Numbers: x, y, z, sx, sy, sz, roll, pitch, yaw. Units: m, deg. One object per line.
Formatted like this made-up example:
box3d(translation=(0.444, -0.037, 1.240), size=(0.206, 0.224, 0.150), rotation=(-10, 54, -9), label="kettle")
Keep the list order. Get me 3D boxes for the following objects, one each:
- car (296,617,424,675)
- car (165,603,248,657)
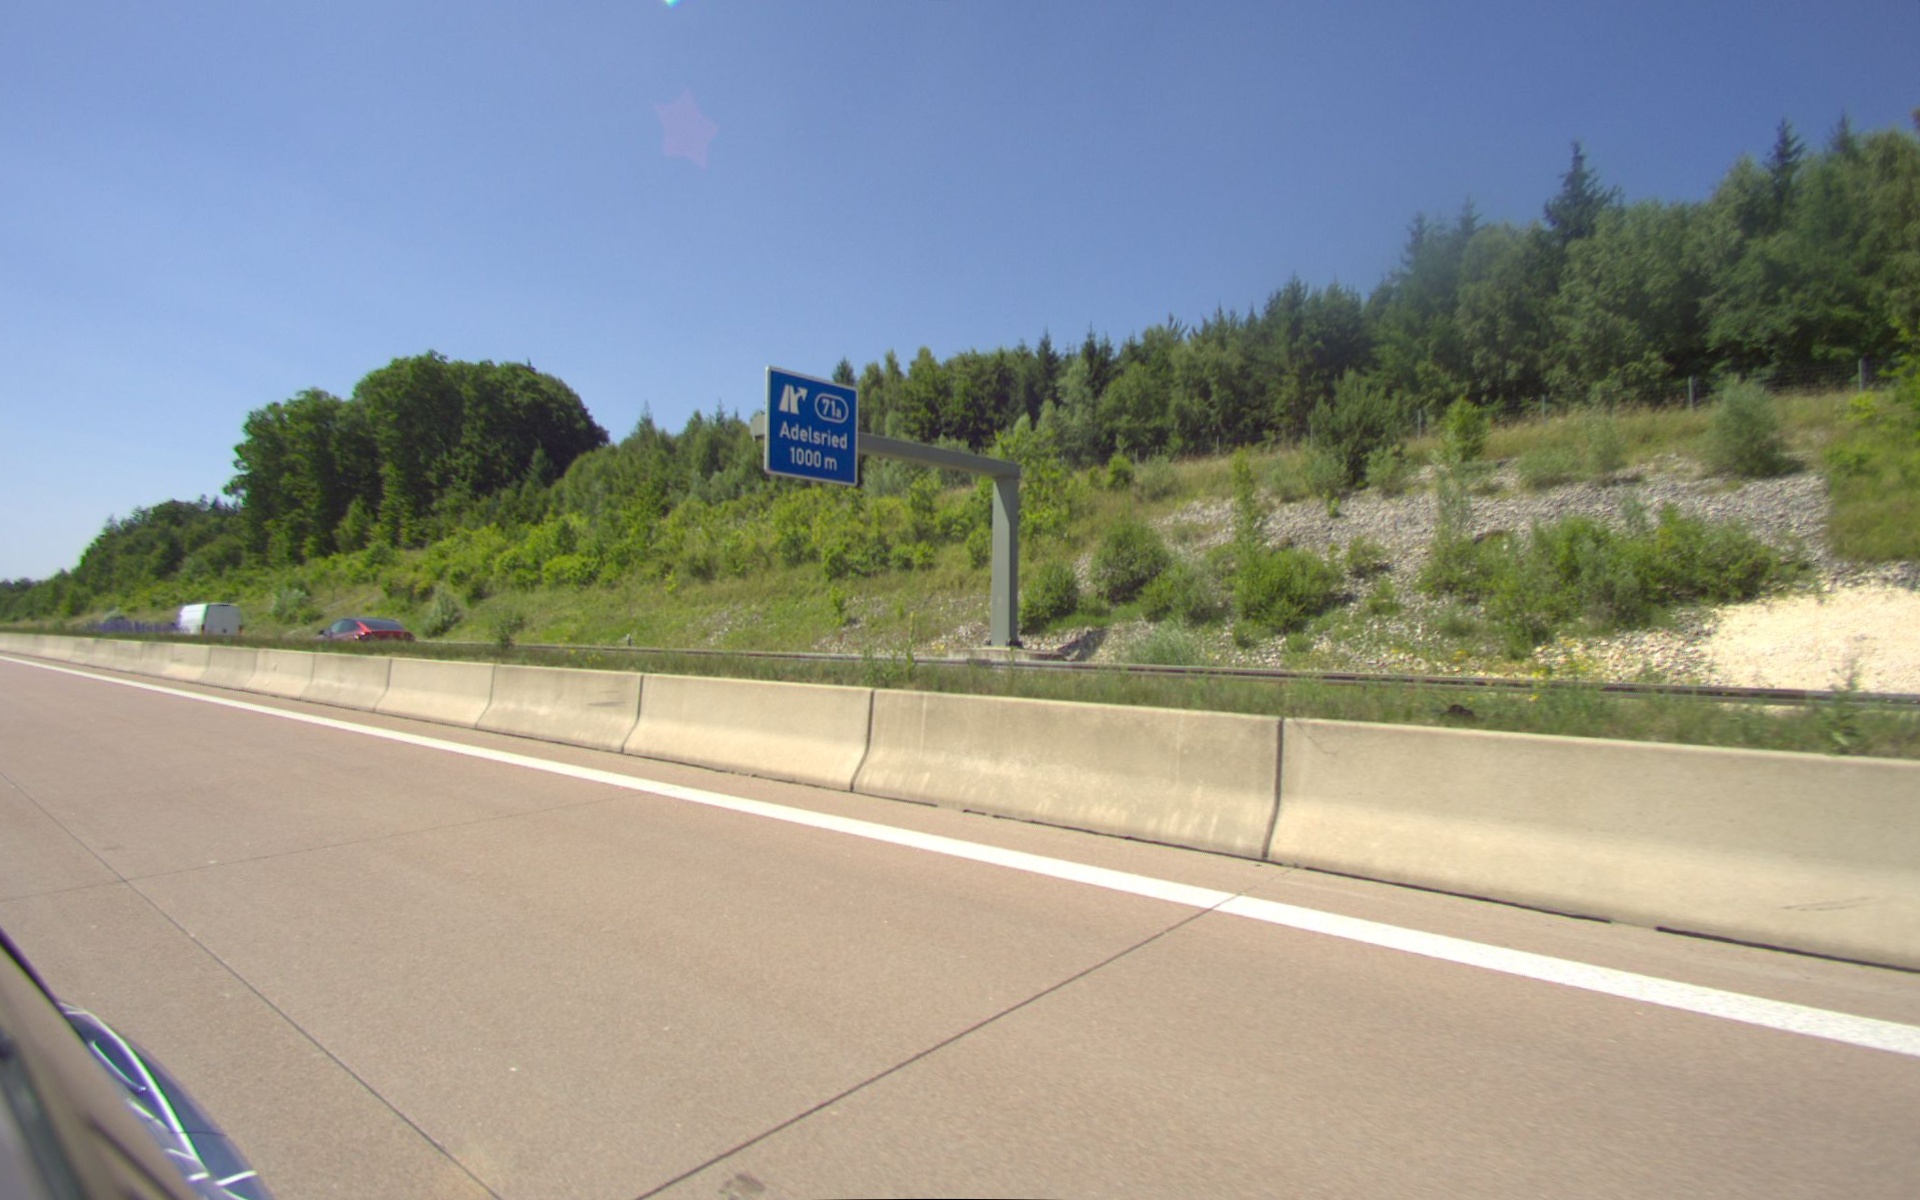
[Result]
box3d(translation=(-18.696, 1.431, 31.442), size=(4.973, 1.606, 1.872), rotation=(-3, -1, 40), label="car")
box3d(translation=(-44.150, 1.790, 59.207), size=(7.498, 2.992, 2.384), rotation=(-3, -2, 41), label="car")
